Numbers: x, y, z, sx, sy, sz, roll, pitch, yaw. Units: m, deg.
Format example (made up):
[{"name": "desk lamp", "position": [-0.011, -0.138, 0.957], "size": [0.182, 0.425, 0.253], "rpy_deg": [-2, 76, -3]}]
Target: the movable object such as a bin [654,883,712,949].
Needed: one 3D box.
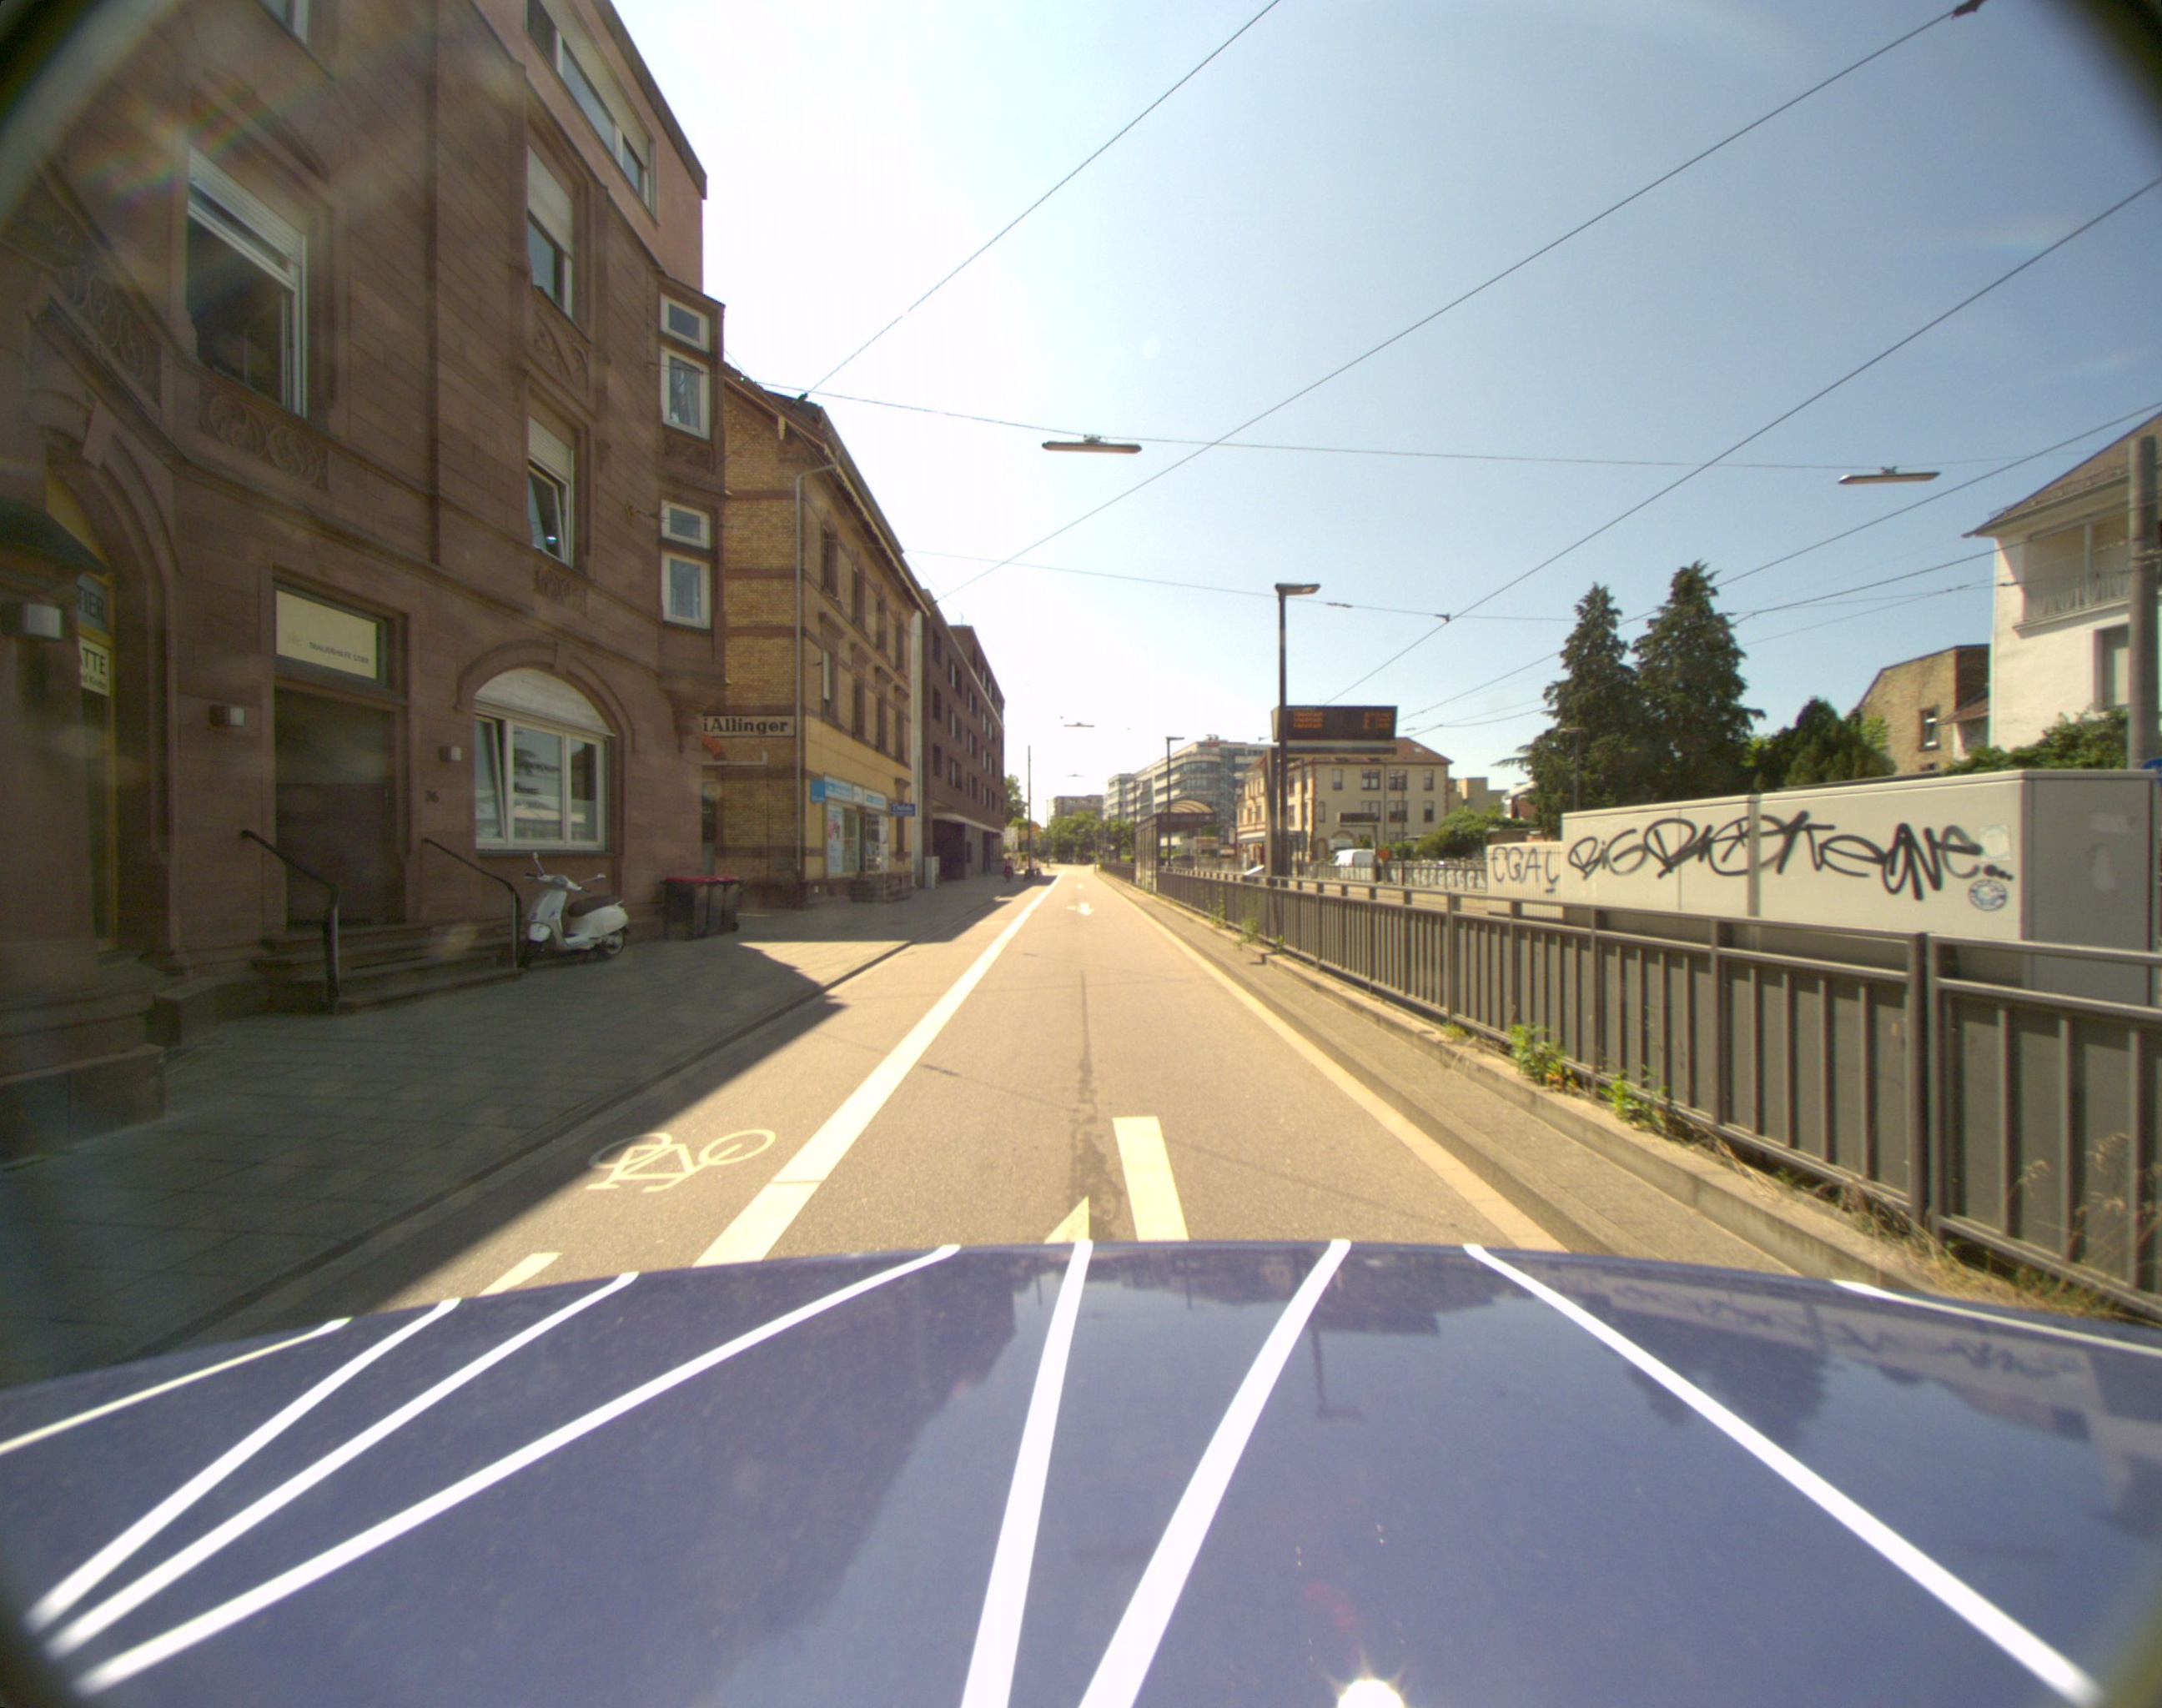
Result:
[{"name": "movable object such as a bin", "position": [-6.685, 1.028, 12.789], "size": [0.649, 1.042, 0.559], "rpy_deg": [2, 1, -1]}]

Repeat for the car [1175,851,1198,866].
[{"name": "car", "position": [12.958, 0.507, 93.826], "size": [1.999, 1.827, 3.998], "rpy_deg": [-1, 0, -4]}]

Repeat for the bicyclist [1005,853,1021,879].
[{"name": "bicyclist", "position": [-4.478, 0.794, 50.029], "size": [0.670, 1.712, 0.929], "rpy_deg": [0, 0, 18]}]

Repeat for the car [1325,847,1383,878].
[{"name": "car", "position": [16.417, 0.478, 45.883], "size": [1.860, 1.806, 4.698], "rpy_deg": [1, 0, 1]}]

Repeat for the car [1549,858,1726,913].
[{"name": "car", "position": [16.455, 0.866, 22.822], "size": [1.823, 1.459, 4.622], "rpy_deg": [1, 0, -2]}]

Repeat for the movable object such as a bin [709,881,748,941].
[{"name": "movable object such as a bin", "position": [-6.465, 1.036, 13.958], "size": [0.376, 1.042, 0.657], "rpy_deg": [2, 0, 0]}]

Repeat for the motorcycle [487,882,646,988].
[{"name": "motorcycle", "position": [-6.440, 0.961, 9.652], "size": [0.527, 1.142, 1.881], "rpy_deg": [0, 0, 8]}]

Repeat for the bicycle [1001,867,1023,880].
[{"name": "bicycle", "position": [-4.505, 1.298, 49.857], "size": [0.689, 0.793, 1.910], "rpy_deg": [-1, 0, 18]}]

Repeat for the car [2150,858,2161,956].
[{"name": "car", "position": [16.228, 0.757, 8.783], "size": [1.822, 1.387, 4.174], "rpy_deg": [1, 0, -1]}]

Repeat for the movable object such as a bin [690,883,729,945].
[{"name": "movable object such as a bin", "position": [-6.525, 1.046, 13.366], "size": [0.376, 1.042, 0.559], "rpy_deg": [2, 1, 0]}]
